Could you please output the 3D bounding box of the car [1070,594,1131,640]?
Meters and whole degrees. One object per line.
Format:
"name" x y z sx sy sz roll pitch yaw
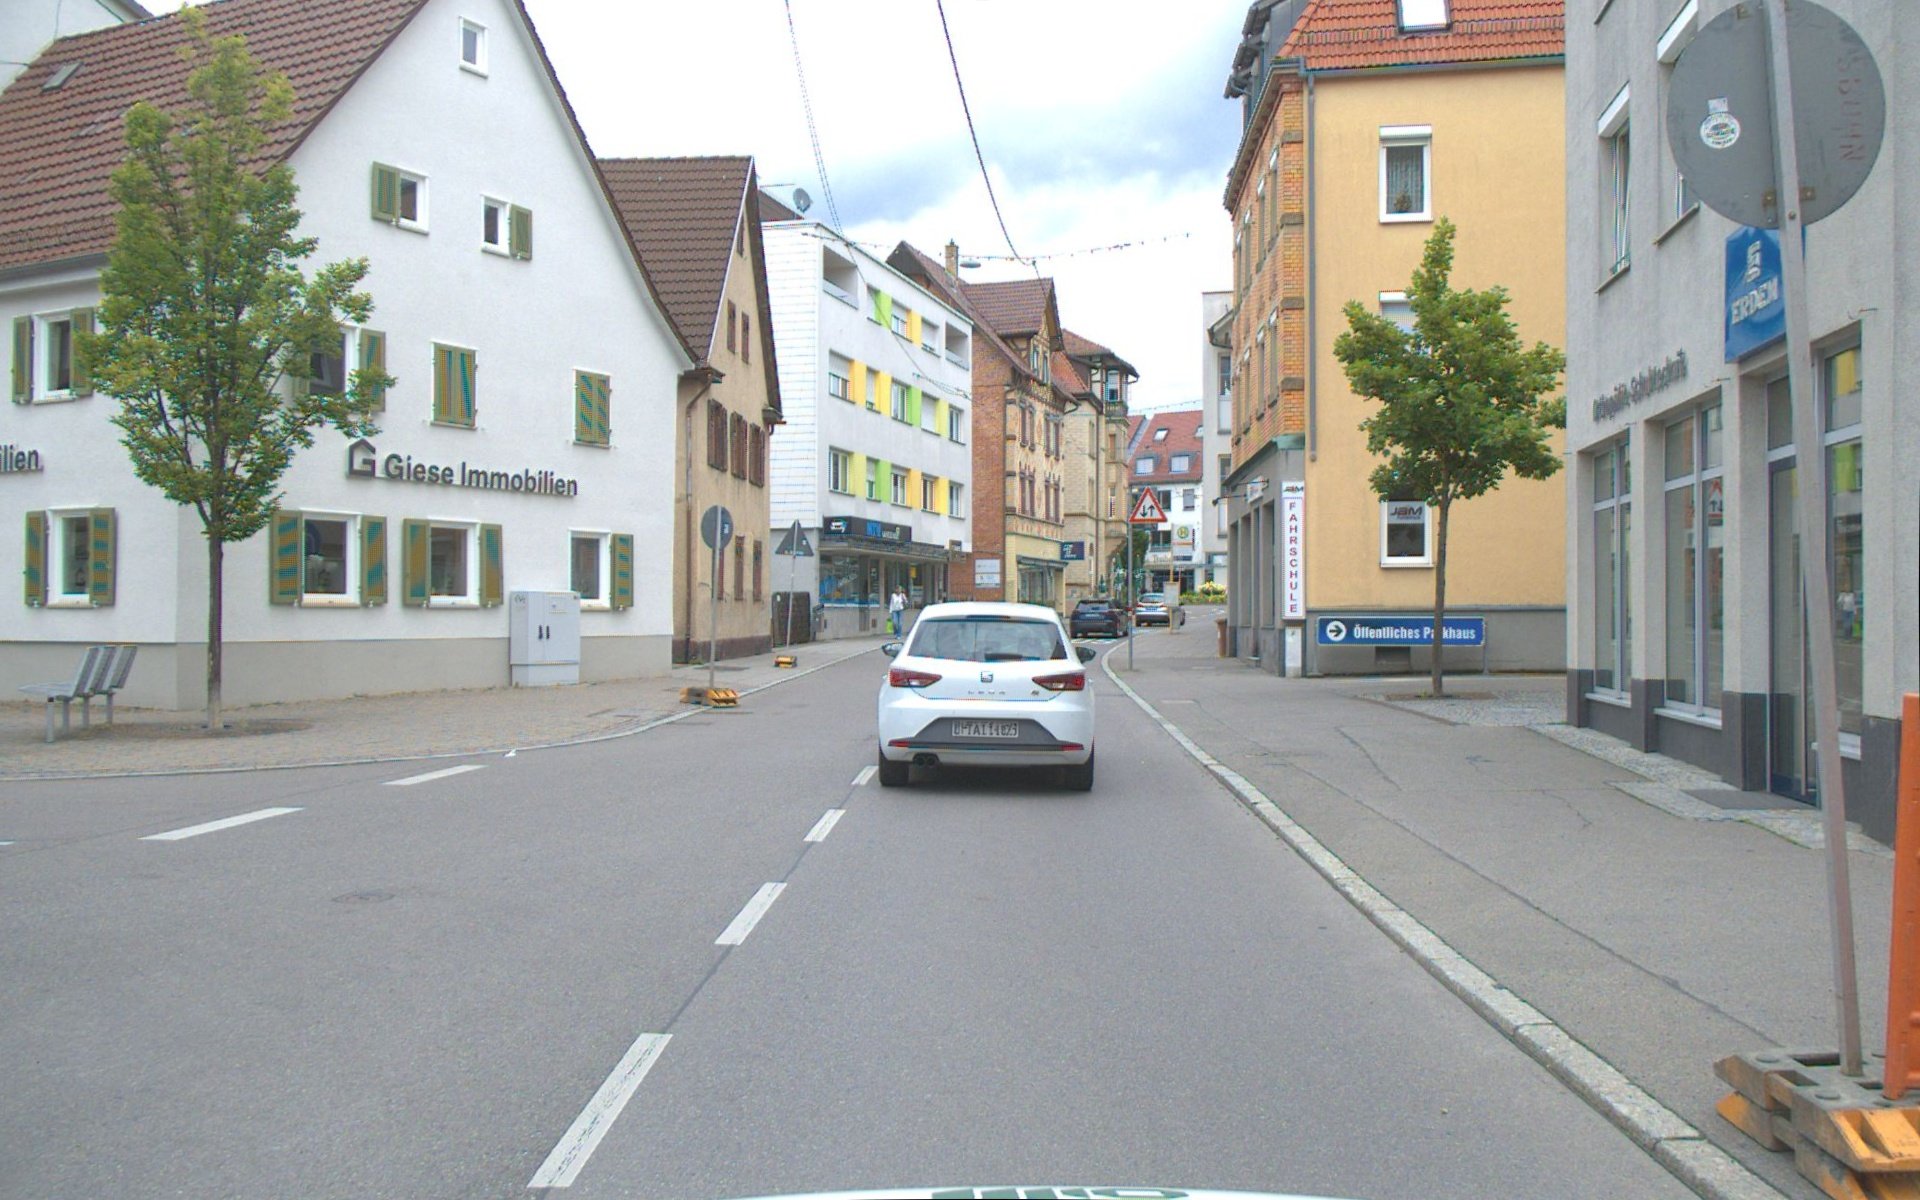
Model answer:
"car" 5.000 0.586 58.546 1.773 1.506 3.874 0 1 11

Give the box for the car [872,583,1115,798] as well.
"car" 0.380 0.645 14.172 1.773 1.506 3.873 1 1 4

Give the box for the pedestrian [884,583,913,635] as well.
"pedestrian" -2.019 0.289 54.457 0.874 1.694 0.861 0 0 1

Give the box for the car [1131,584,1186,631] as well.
"car" 8.991 0.305 74.645 1.951 2.049 4.003 0 0 15

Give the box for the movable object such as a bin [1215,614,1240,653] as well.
"movable object such as a bin" 6.646 0.826 41.088 0.606 0.937 0.582 0 0 8
